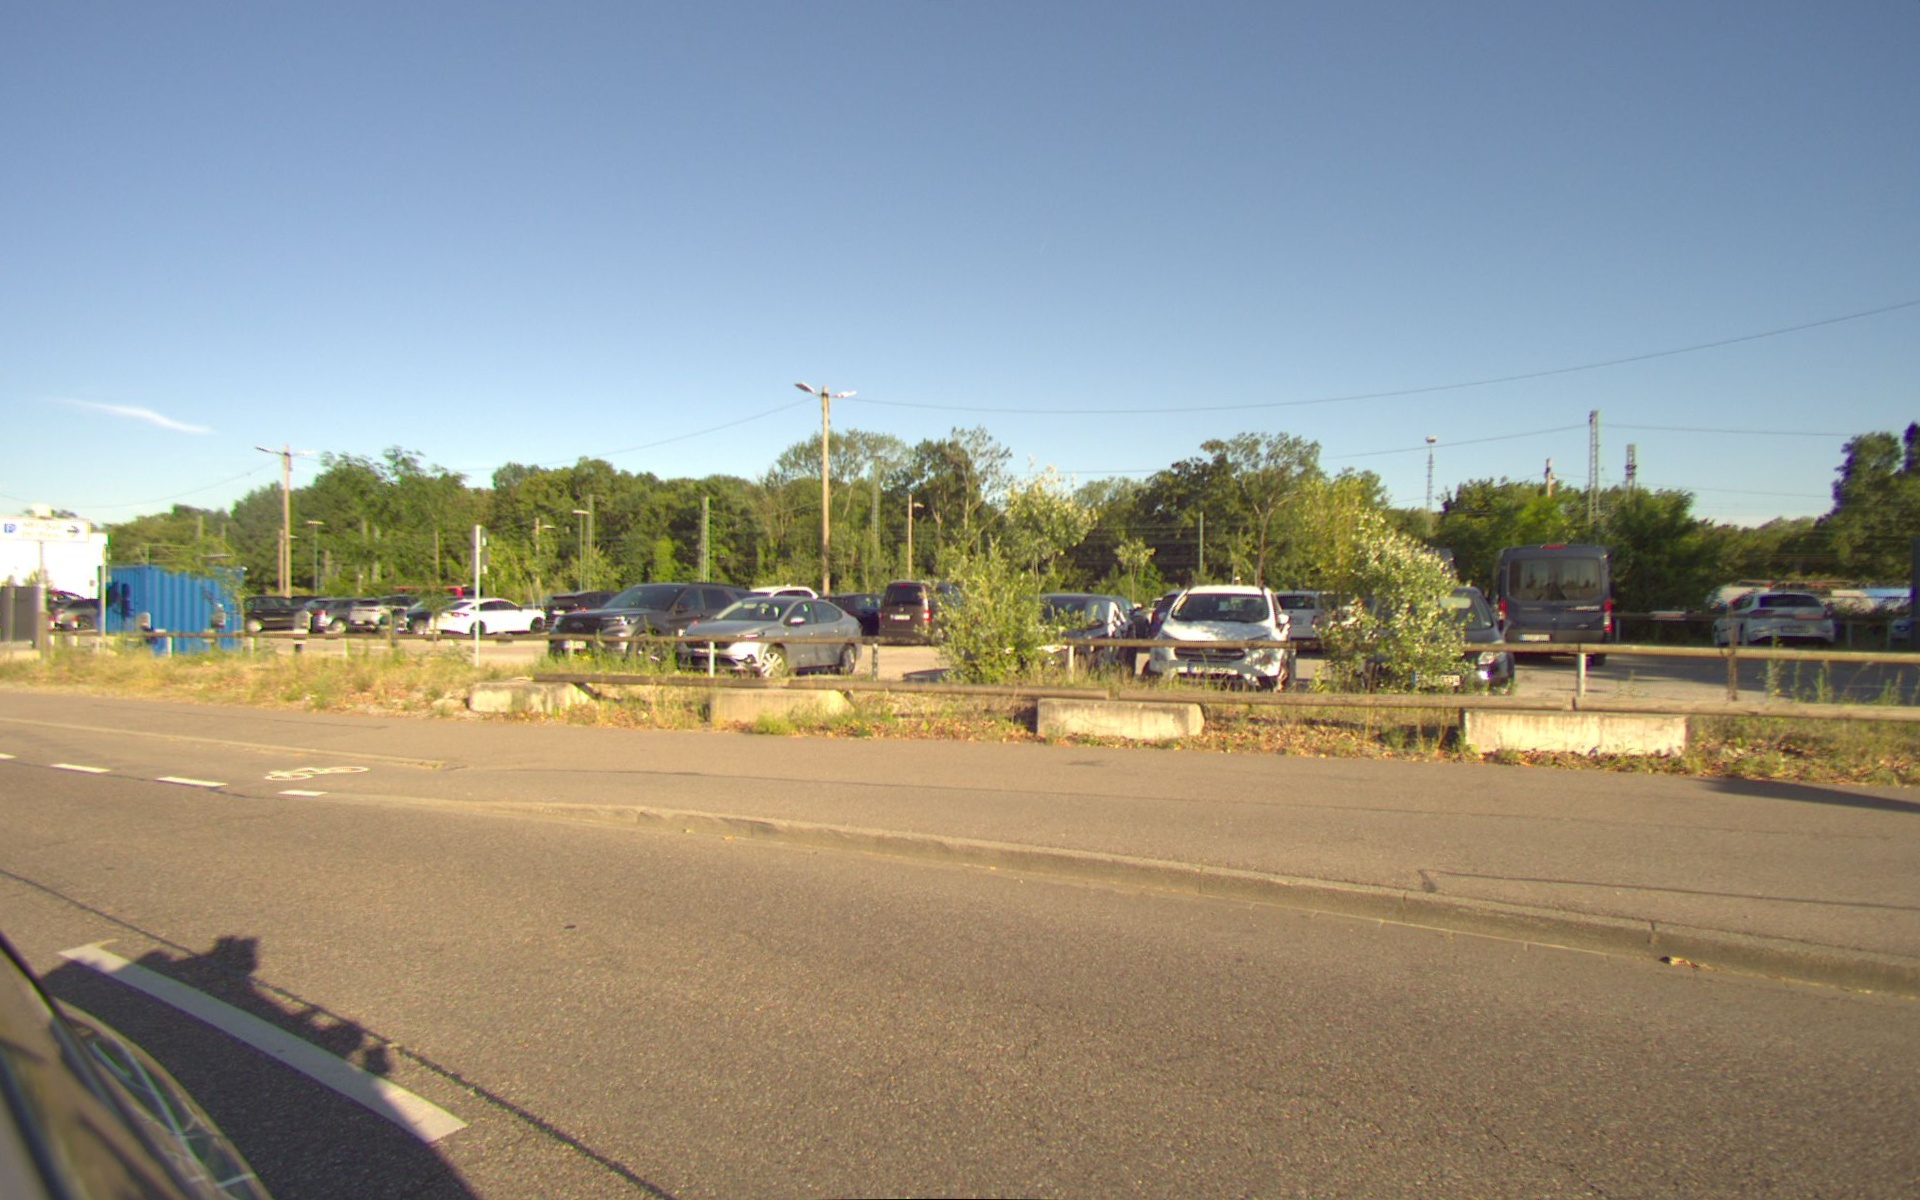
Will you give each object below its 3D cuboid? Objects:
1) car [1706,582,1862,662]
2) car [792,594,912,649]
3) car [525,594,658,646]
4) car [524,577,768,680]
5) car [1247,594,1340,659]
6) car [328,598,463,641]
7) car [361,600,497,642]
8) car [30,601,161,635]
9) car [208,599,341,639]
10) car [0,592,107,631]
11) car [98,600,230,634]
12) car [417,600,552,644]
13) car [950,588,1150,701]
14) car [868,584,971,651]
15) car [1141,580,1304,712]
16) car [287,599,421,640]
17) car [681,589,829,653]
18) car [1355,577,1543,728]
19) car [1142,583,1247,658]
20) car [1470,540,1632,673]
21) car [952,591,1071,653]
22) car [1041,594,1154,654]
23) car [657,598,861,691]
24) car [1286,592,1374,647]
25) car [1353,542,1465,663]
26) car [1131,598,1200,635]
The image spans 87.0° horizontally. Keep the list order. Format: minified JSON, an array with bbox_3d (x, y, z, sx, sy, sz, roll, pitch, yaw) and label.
[{"bbox_3d":[20.296,0.480,25.158,1.975,1.822,4.168,-1,0,24],"label":"car"},{"bbox_3d":[-3.201,0.600,30.821,1.881,1.498,3.909,0,1,25],"label":"car"},{"bbox_3d":[-12.594,0.643,34.855,1.974,1.601,4.170,-1,1,24],"label":"car"},{"bbox_3d":[-5.900,0.566,19.656,2.056,1.756,4.500,-1,-2,24],"label":"car"},{"bbox_3d":[8.552,0.611,25.776,1.824,1.519,3.719,-1,0,25],"label":"car"},{"bbox_3d":[-22.152,0.735,39.906,1.858,1.477,4.412,-1,1,24],"label":"car"},{"bbox_3d":[-20.005,0.744,38.353,1.858,1.454,4.412,-1,0,24],"label":"car"},{"bbox_3d":[-41.455,0.819,48.641,1.915,1.455,4.400,0,1,31],"label":"car"},{"bbox_3d":[-29.373,0.763,43.527,1.858,1.525,4.412,-1,1,24],"label":"car"},{"bbox_3d":[-46.015,0.537,50.911,1.863,1.790,4.399,0,1,32],"label":"car"},{"bbox_3d":[-36.375,0.744,46.380,1.858,1.388,4.412,-1,1,24],"label":"car"},{"bbox_3d":[-17.444,0.776,37.354,1.858,1.388,4.412,-1,1,24],"label":"car"},{"bbox_3d":[1.553,0.610,15.914,1.846,1.527,3.965,-1,0,26],"label":"car"},{"bbox_3d":[-1.101,0.448,29.483,1.757,1.746,3.756,-1,1,19],"label":"car"},{"bbox_3d":[3.933,0.572,14.696,1.873,1.623,4.029,0,0,21],"label":"car"},{"bbox_3d":[-24.511,0.760,41.136,1.858,1.439,4.412,-1,1,24],"label":"car"},{"bbox_3d":[-6.265,0.585,31.526,2.030,1.707,4.658,-1,2,28],"label":"car"},{"bbox_3d":[6.292,0.559,13.445,1.859,1.667,4.116,-1,1,21],"label":"car"},{"bbox_3d":[6.066,0.455,25.894,1.818,1.592,3.967,-1,3,25],"label":"car"},{"bbox_3d":[12.739,0.120,22.226,2.387,2.536,5.468,-1,0,24],"label":"car"},{"bbox_3d":[1.529,0.578,28.507,1.989,1.606,3.966,-1,0,25],"label":"car"},{"bbox_3d":[3.707,0.574,26.728,1.751,1.442,3.964,-1,0,27],"label":"car"},{"bbox_3d":[-3.464,0.714,18.231,1.826,1.464,3.897,-1,0,21],"label":"car"},{"bbox_3d":[10.906,0.520,29.670,1.977,1.485,4.165,-1,0,27],"label":"car"},{"bbox_3d":[10.226,0.048,23.165,2.116,2.486,4.446,-1,0,24],"label":"car"},{"bbox_3d":[8.780,0.673,42.988,1.868,1.442,3.897,-1,0,28],"label":"car"}]
